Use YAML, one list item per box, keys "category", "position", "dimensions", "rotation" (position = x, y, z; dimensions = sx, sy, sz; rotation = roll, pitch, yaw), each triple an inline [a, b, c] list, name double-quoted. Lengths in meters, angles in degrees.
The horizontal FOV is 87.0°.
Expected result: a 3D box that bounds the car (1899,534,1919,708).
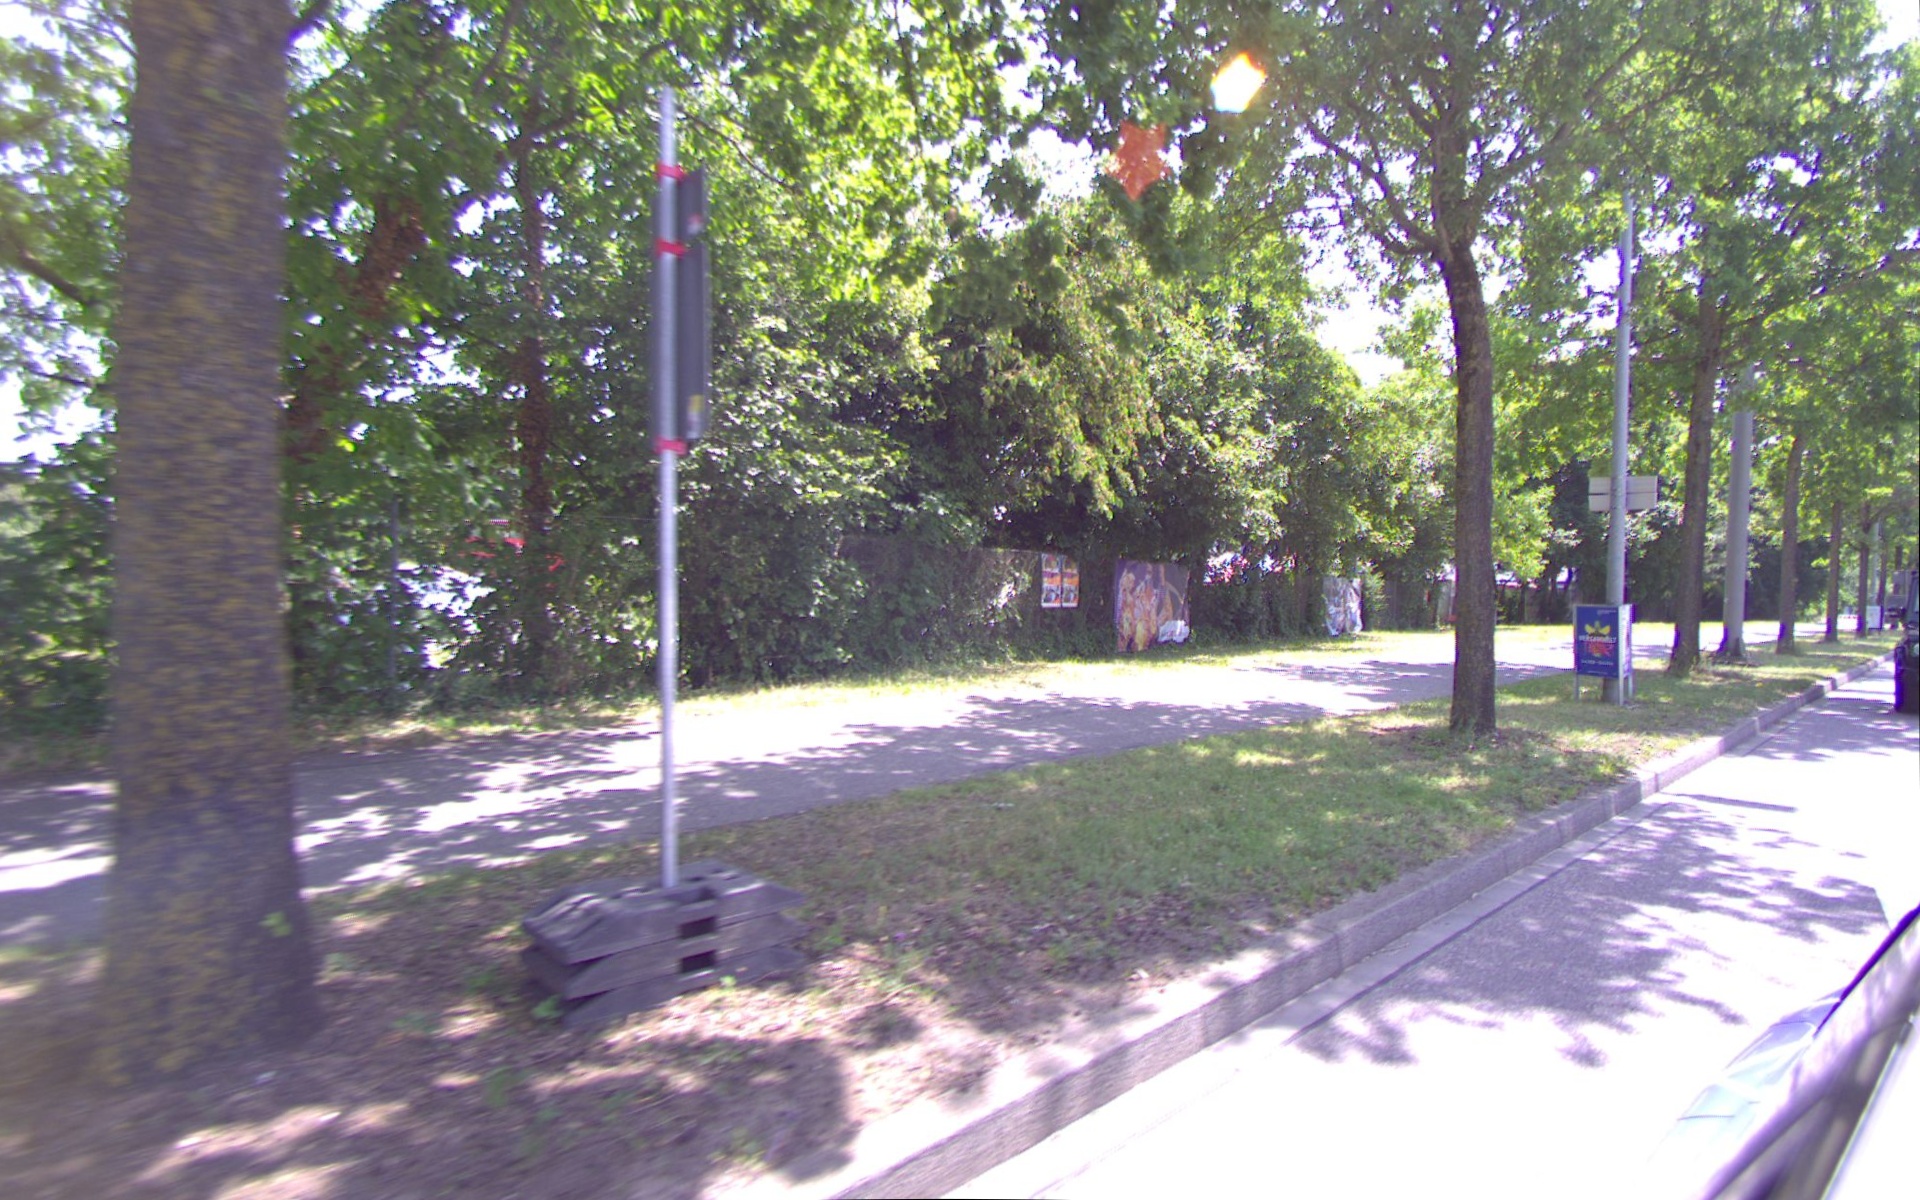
- category: "car"
  position: [14.120, 0.303, 13.681]
  dimensions: [4.482, 2.180, 1.838]
  rotation: [1, 1, -44]
